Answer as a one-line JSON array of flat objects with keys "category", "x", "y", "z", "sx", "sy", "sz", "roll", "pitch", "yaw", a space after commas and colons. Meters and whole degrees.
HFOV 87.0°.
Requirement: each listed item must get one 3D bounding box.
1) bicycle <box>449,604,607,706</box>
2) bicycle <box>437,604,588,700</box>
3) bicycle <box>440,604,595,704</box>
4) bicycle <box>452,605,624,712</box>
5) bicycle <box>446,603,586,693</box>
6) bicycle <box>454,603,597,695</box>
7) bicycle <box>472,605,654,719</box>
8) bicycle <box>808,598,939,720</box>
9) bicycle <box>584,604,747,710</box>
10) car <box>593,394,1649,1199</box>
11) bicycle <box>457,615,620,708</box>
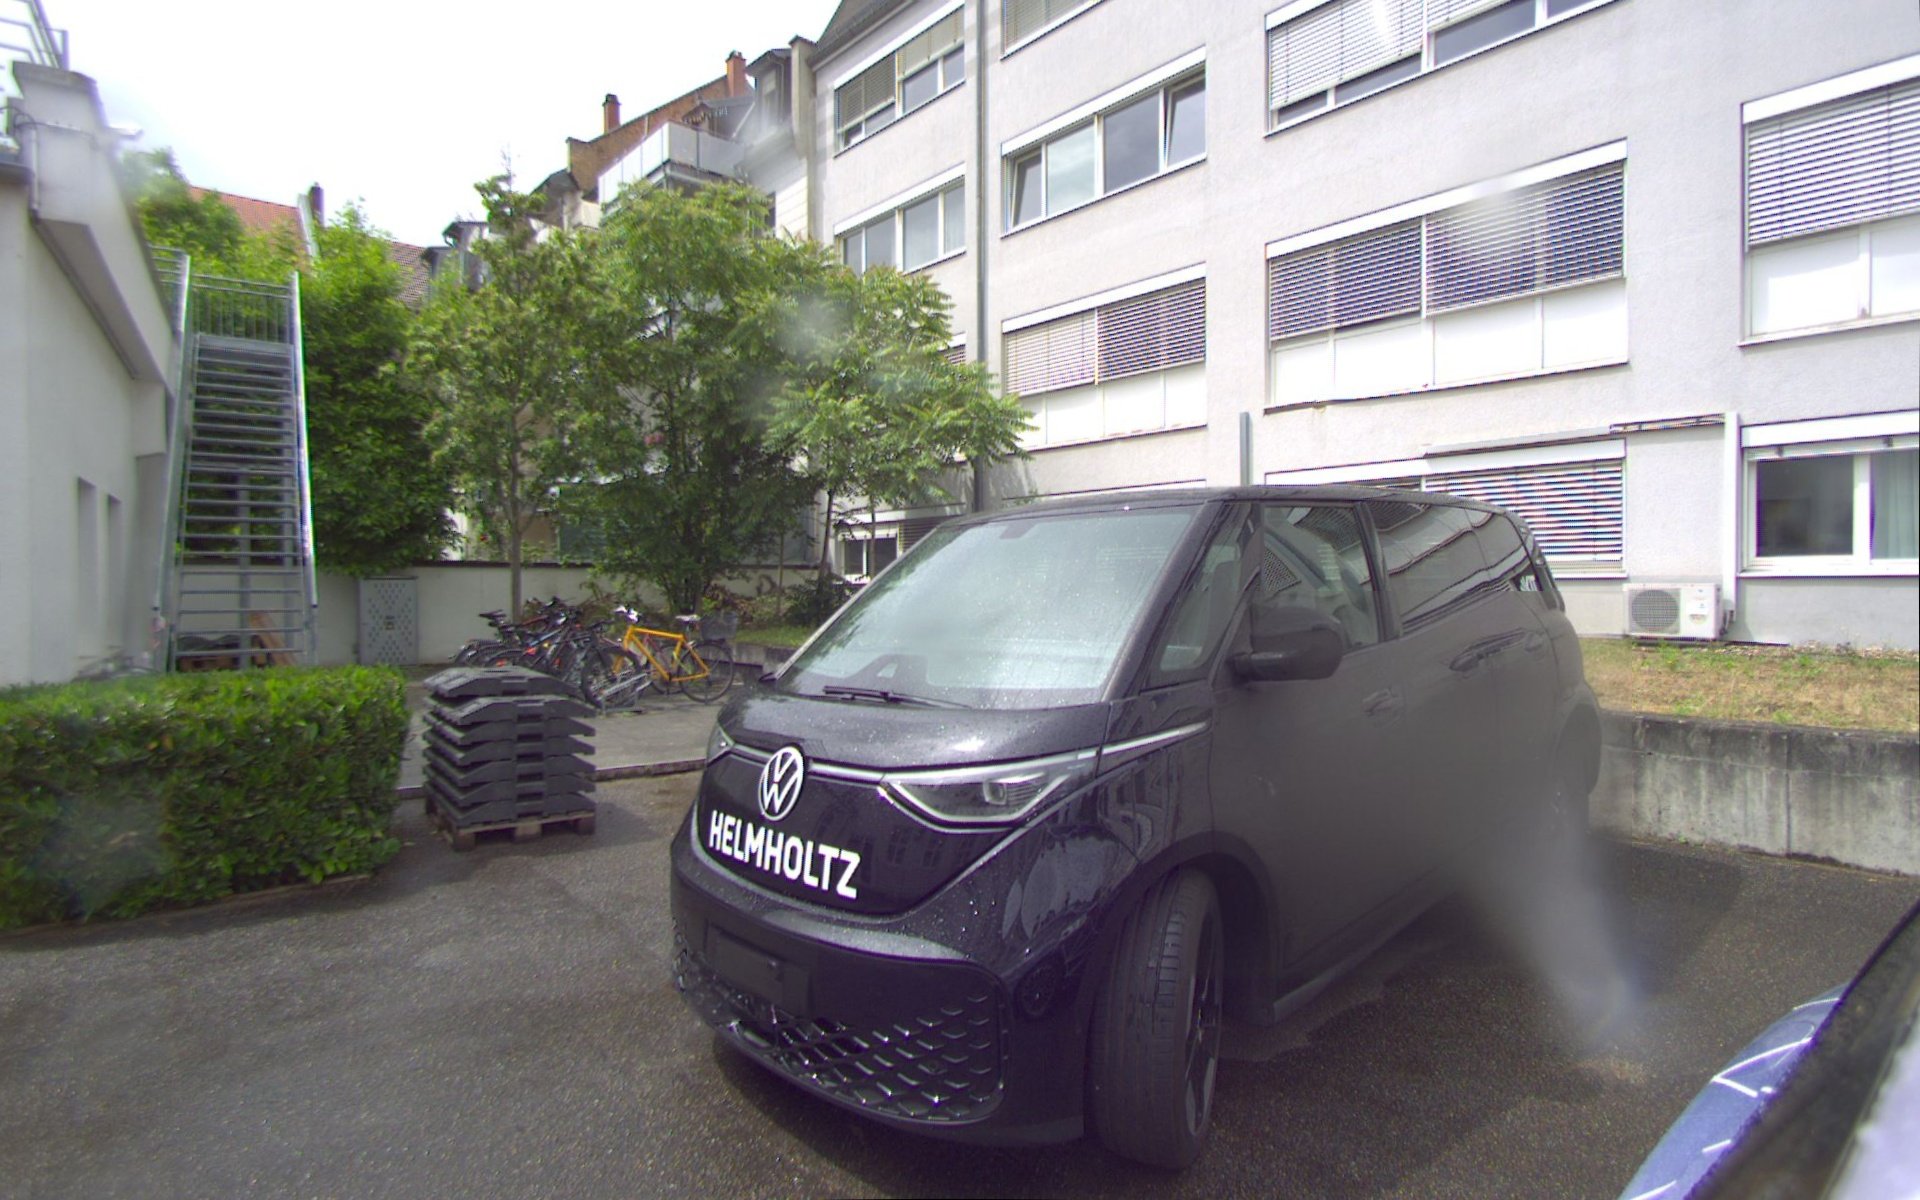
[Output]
[{"category": "bicycle", "x": -5.153, "y": 0.626, "z": 12.150, "sx": 1.725, "sy": 1.117, "sz": 0.332, "roll": -1, "pitch": 1, "yaw": -42}, {"category": "bicycle", "x": -5.641, "y": 0.624, "z": 12.833, "sx": 1.725, "sy": 1.117, "sz": 0.345, "roll": -1, "pitch": 1, "yaw": -42}, {"category": "bicycle", "x": -5.397, "y": 0.627, "z": 12.409, "sx": 1.725, "sy": 1.117, "sz": 0.342, "roll": -1, "pitch": 1, "yaw": -42}, {"category": "bicycle", "x": -4.739, "y": 0.628, "z": 11.428, "sx": 1.762, "sy": 1.118, "sz": 0.355, "roll": 0, "pitch": 1, "yaw": -34}, {"category": "bicycle", "x": -5.977, "y": 0.621, "z": 13.695, "sx": 1.725, "sy": 1.117, "sz": 0.341, "roll": -1, "pitch": 1, "yaw": -42}, {"category": "bicycle", "x": -5.741, "y": 0.620, "z": 13.433, "sx": 1.725, "sy": 1.117, "sz": 0.354, "roll": -1, "pitch": 1, "yaw": -42}, {"category": "bicycle", "x": -4.213, "y": 0.628, "z": 10.813, "sx": 1.762, "sy": 1.118, "sz": 0.405, "roll": 0, "pitch": 1, "yaw": -34}, {"category": "bicycle", "x": -0.937, "y": 0.563, "z": 10.560, "sx": 0.439, "sy": 1.117, "sz": 1.795, "roll": -3, "pitch": 3, "yaw": -37}, {"category": "bicycle", "x": -3.341, "y": 0.621, "z": 11.561, "sx": 1.762, "sy": 1.118, "sz": 0.367, "roll": 0, "pitch": 1, "yaw": -34}, {"category": "car", "x": 1.136, "y": 0.464, "z": 4.307, "sx": 4.669, "sy": 1.888, "sz": 1.966, "roll": -2, "pitch": 2, "yaw": -43}, {"category": "bicycle", "x": -4.920, "y": 0.695, "z": 11.900, "sx": 1.765, "sy": 0.979, "sz": 0.329, "roll": -1, "pitch": 1, "yaw": -42}]
